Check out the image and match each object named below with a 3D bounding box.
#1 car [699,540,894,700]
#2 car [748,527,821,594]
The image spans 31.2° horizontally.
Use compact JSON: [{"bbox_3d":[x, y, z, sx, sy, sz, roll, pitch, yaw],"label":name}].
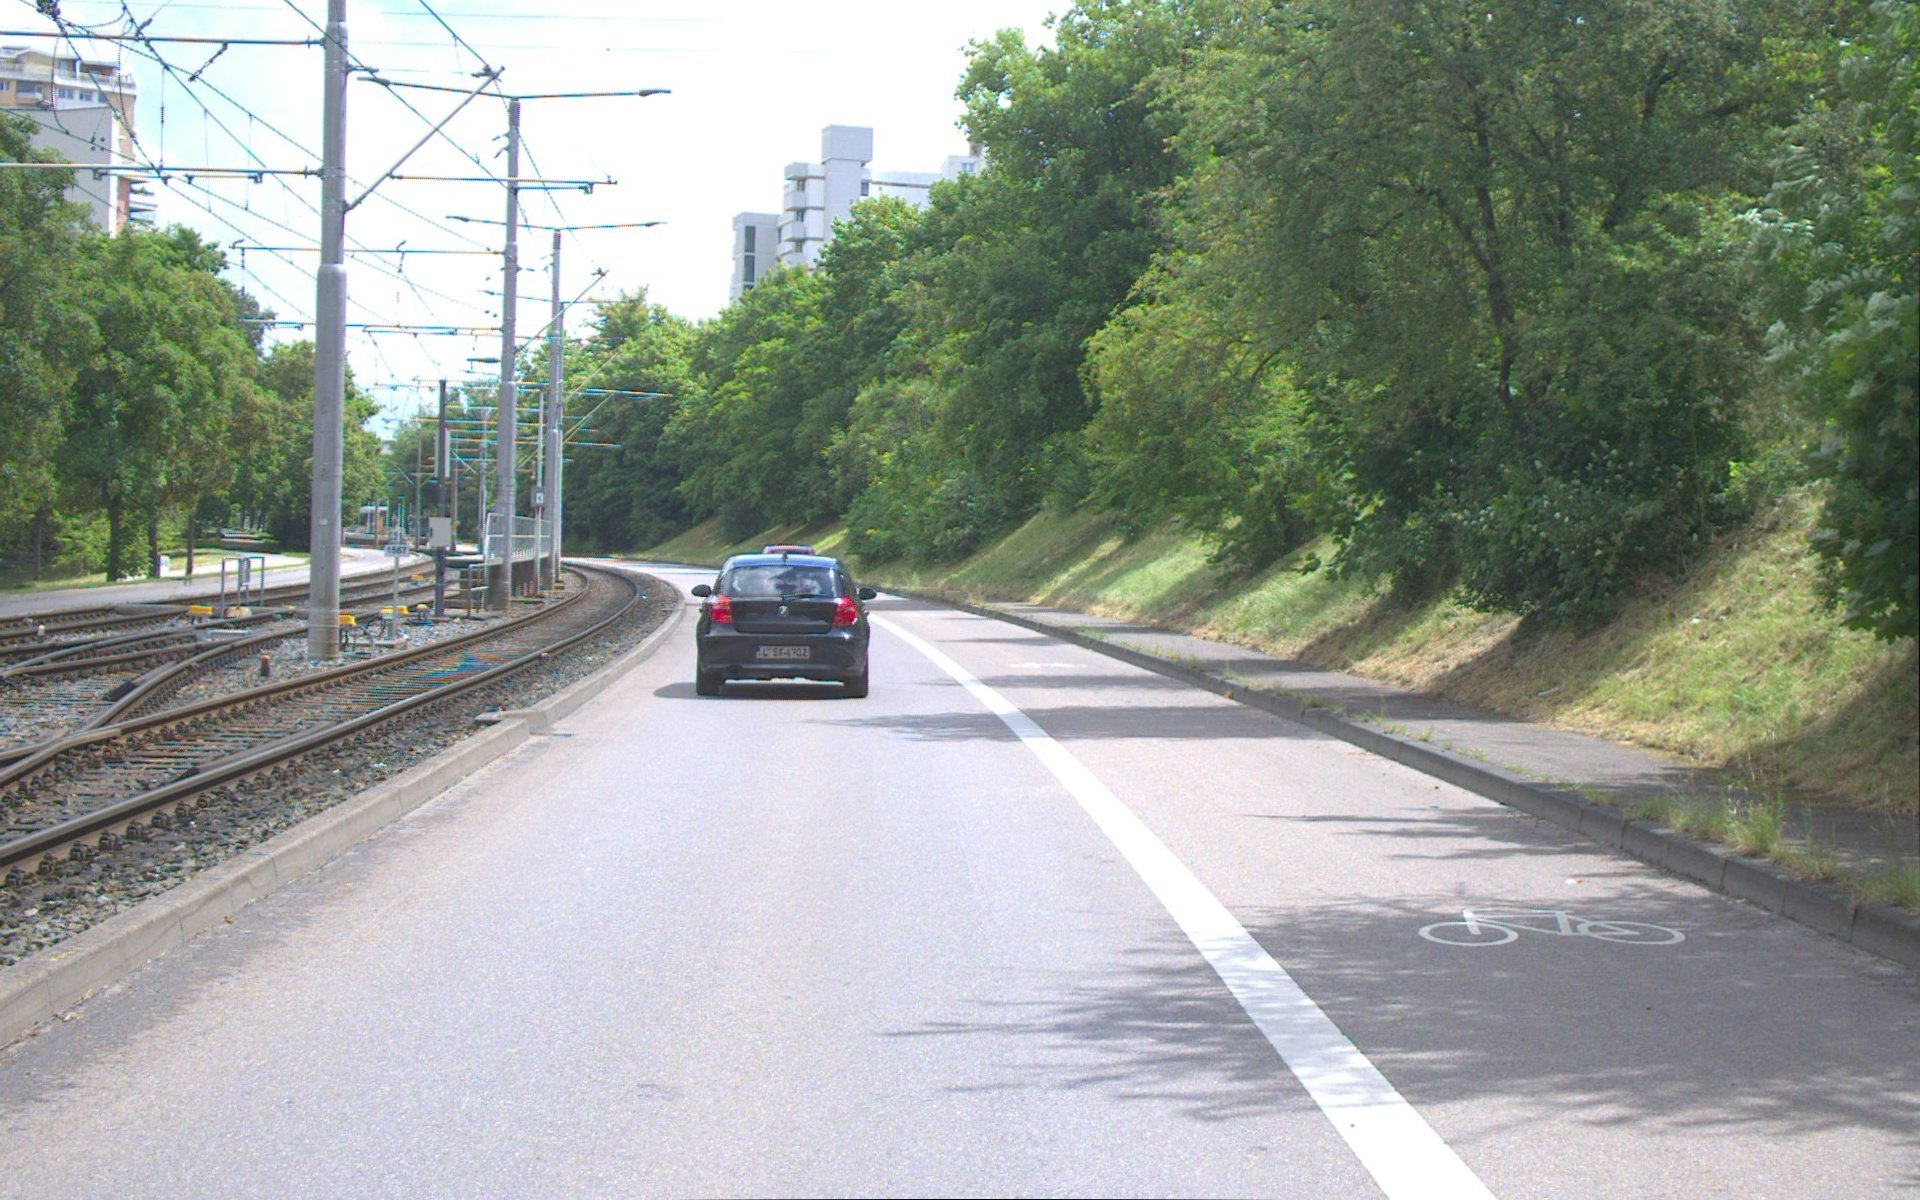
[{"bbox_3d":[-1.615,0.183,35.167,1.708,1.455,3.960,3,0,0],"label":"car"},{"bbox_3d":[-4.149,-0.942,81.200,1.624,1.438,3.422,2,2,-3],"label":"car"}]
